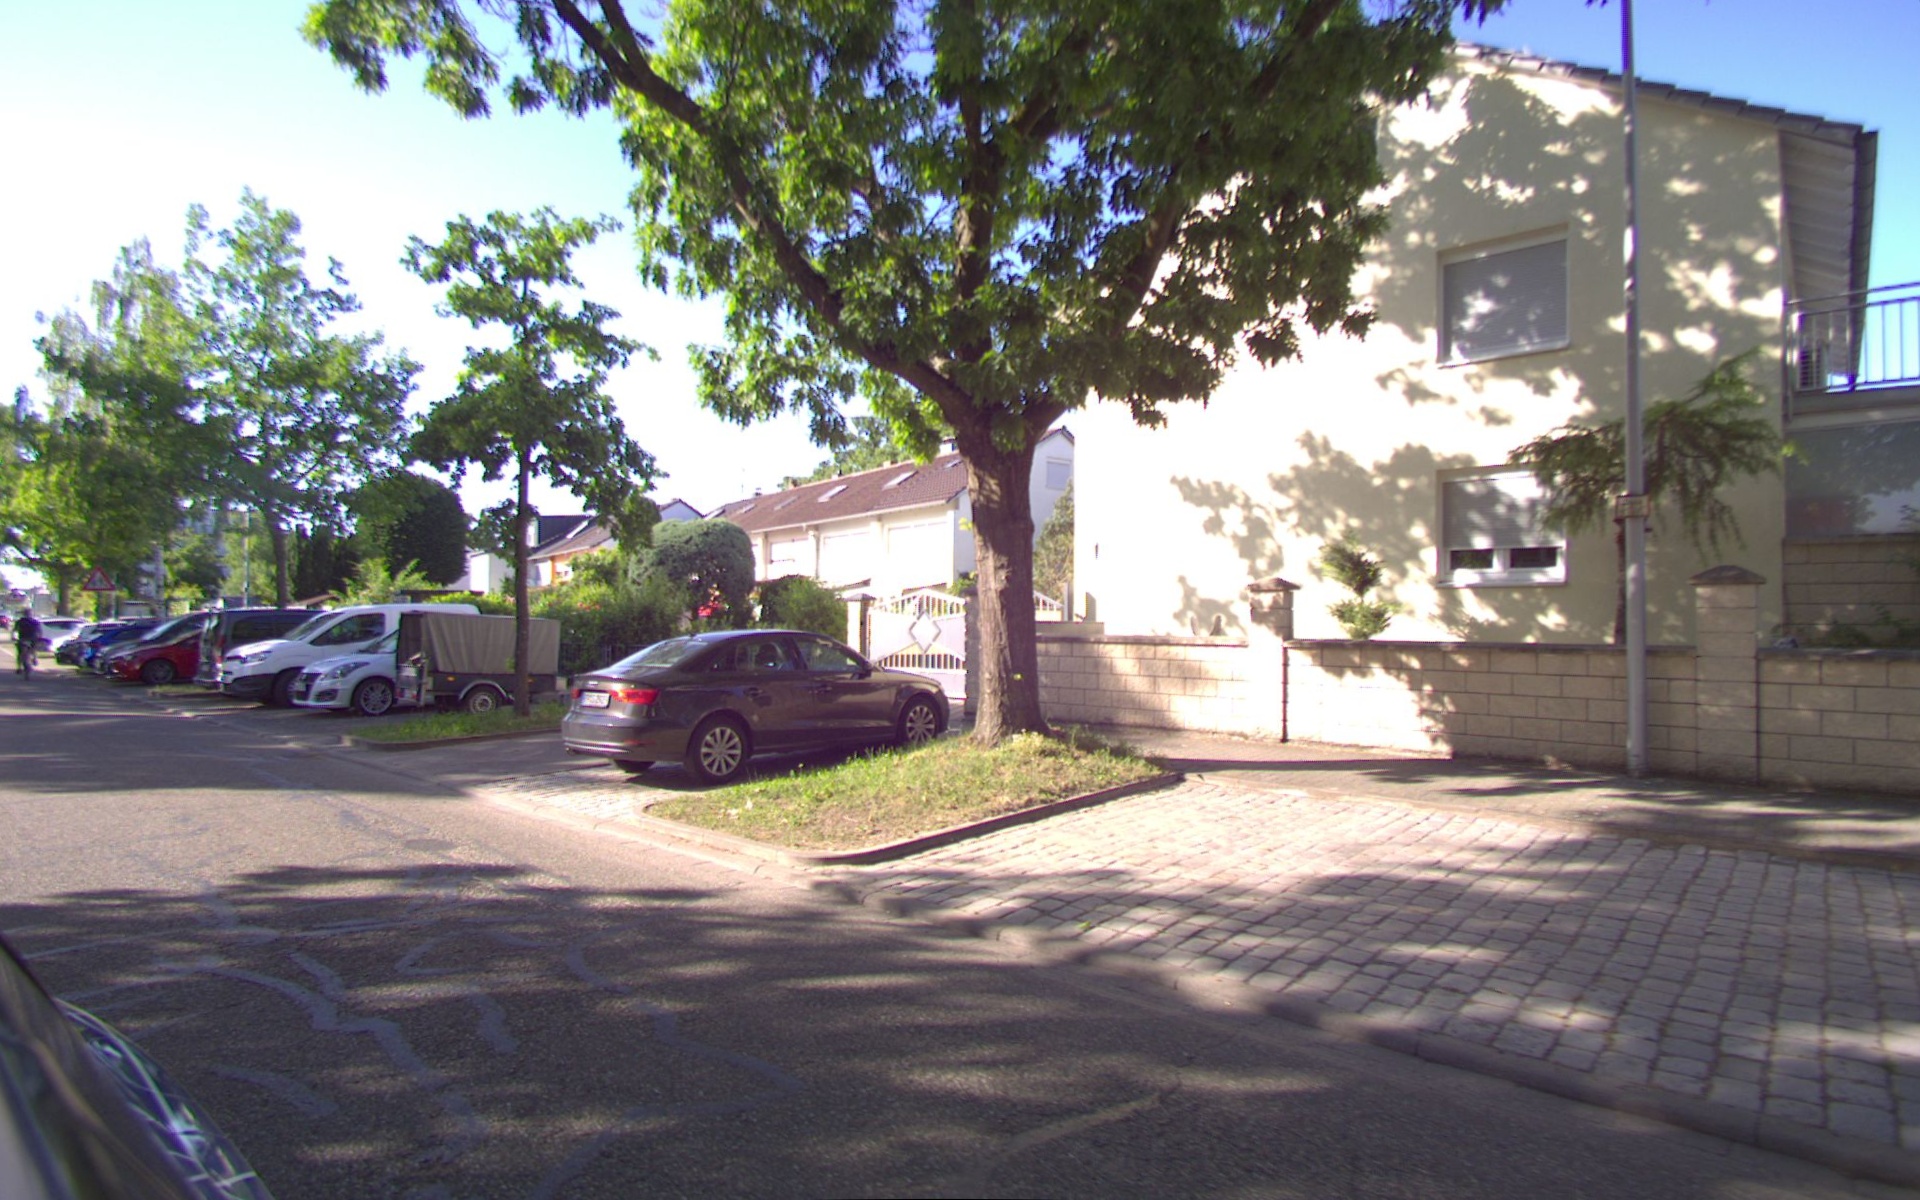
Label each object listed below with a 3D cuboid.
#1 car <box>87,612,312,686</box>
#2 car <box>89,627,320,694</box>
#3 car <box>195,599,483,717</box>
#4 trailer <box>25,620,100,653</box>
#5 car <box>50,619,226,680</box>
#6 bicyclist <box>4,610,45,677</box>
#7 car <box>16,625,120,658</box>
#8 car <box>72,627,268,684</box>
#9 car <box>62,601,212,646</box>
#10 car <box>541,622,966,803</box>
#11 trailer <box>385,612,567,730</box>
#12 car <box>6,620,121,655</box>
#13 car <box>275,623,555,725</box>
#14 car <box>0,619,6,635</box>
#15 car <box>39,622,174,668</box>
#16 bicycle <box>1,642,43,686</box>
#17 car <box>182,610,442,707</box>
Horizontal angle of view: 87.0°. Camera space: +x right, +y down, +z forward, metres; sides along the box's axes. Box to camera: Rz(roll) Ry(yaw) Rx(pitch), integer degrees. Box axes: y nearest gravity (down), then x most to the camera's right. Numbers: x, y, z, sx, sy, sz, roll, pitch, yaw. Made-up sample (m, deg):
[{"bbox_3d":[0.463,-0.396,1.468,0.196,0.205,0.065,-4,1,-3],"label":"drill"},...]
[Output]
[{"bbox_3d":[-20.547,1.252,27.508,1.794,1.782,4.624,-2,-1,41],"label":"car"},{"bbox_3d":[-18.922,1.446,25.504,1.837,1.511,4.426,-1,-2,44],"label":"car"},{"bbox_3d":[-11.558,1.036,19.077,1.998,1.959,4.194,-1,-2,39],"label":"car"},{"bbox_3d":[-47.160,1.901,53.202,1.298,1.659,2.732,1,0,39],"label":"trailer"},{"bbox_3d":[-26.046,1.506,32.164,1.760,1.737,4.164,-1,-1,42],"label":"car"},{"bbox_3d":[-24.141,1.130,26.110,0.975,1.687,0.589,-1,-5,43],"label":"bicyclist"},{"bbox_3d":[-42.207,1.946,47.929,1.707,1.507,3.477,-2,-2,41],"label":"car"},{"bbox_3d":[-22.726,1.541,29.228,1.723,1.435,4.226,-1,-1,41],"label":"car"},{"bbox_3d":[-29.466,0.862,36.303,1.796,1.526,3.956,-1,-2,44],"label":"car"},{"bbox_3d":[-1.976,1.012,10.621,1.690,1.483,4.164,-3,-3,43],"label":"car"},{"bbox_3d":[-7.545,1.063,15.840,2.210,1.686,1.475,2,-3,-44],"label":"trailer"},{"bbox_3d":[-43.981,1.806,49.704,1.919,1.586,3.917,0,0,36],"label":"car"},{"bbox_3d":[-9.311,1.180,17.554,1.688,1.528,3.948,-1,-1,38],"label":"car"},{"bbox_3d":[-94.336,2.651,98.795,1.740,1.489,3.853,-1,-1,-44],"label":"car"},{"bbox_3d":[-33.349,1.713,39.600,1.707,1.626,3.894,-2,-1,44],"label":"car"},{"bbox_3d":[-24.159,1.633,26.062,1.986,1.066,0.590,-1,-5,43],"label":"bicycle"},{"bbox_3d":[-13.415,1.122,21.148,1.965,1.783,4.197,-1,-1,39],"label":"car"}]
